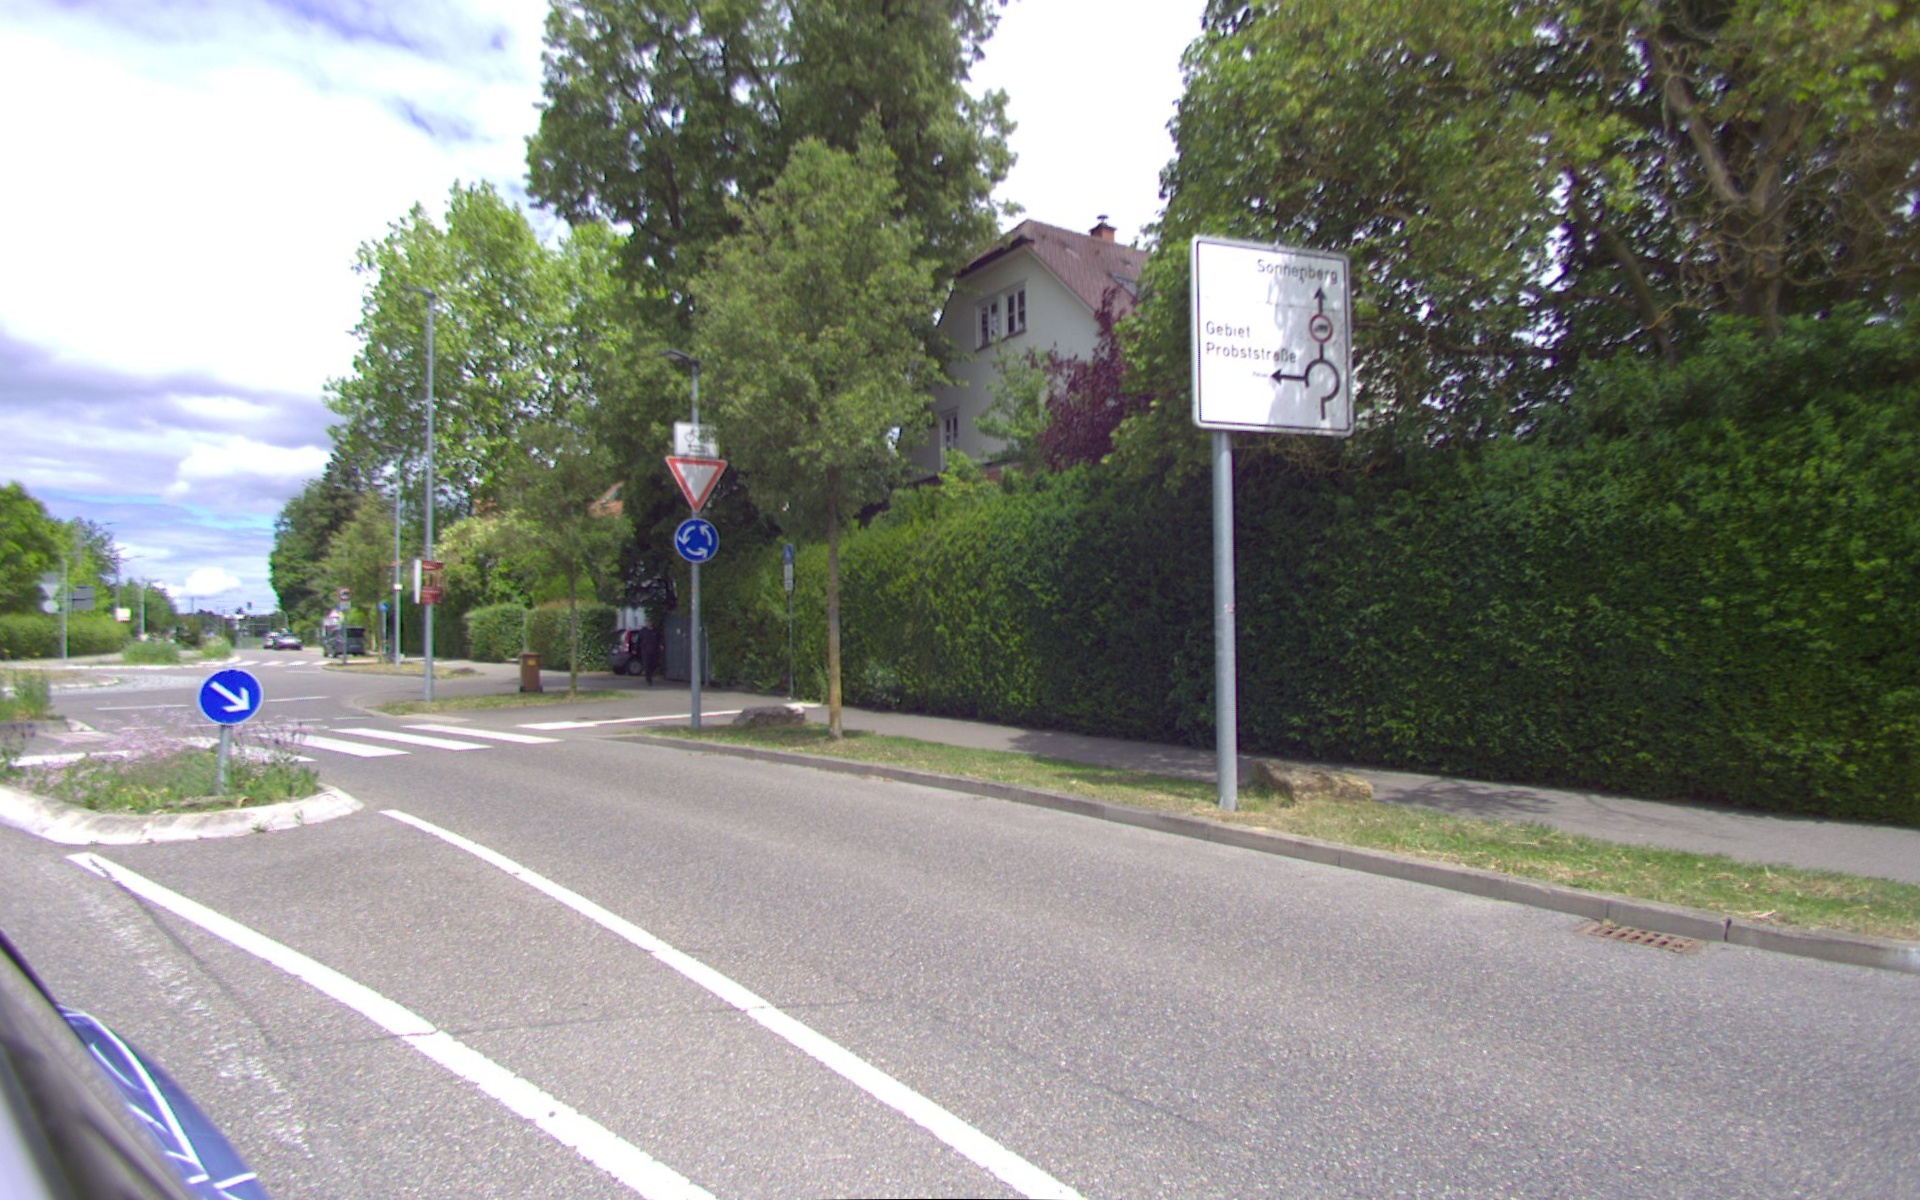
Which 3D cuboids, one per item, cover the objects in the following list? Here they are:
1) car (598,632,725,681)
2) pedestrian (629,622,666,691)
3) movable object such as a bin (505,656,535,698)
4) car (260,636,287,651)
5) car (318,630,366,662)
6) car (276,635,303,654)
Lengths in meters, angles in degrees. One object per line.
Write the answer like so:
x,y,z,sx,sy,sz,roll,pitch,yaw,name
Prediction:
-9.591,1.820,32.588,3.520,1.408,1.669,4,-4,-36,car
-7.960,1.417,25.782,0.734,1.704,0.696,0,-1,-35,pedestrian
-9.950,1.734,22.877,0.410,0.942,0.437,-1,-3,25,movable object such as a bin
-76.654,4.838,112.955,1.969,1.719,4.006,3,-3,-41,car
-34.573,2.544,56.604,1.655,1.674,4.006,2,-2,-40,car
-58.190,3.856,87.837,1.833,1.589,4.009,0,-1,-36,car
